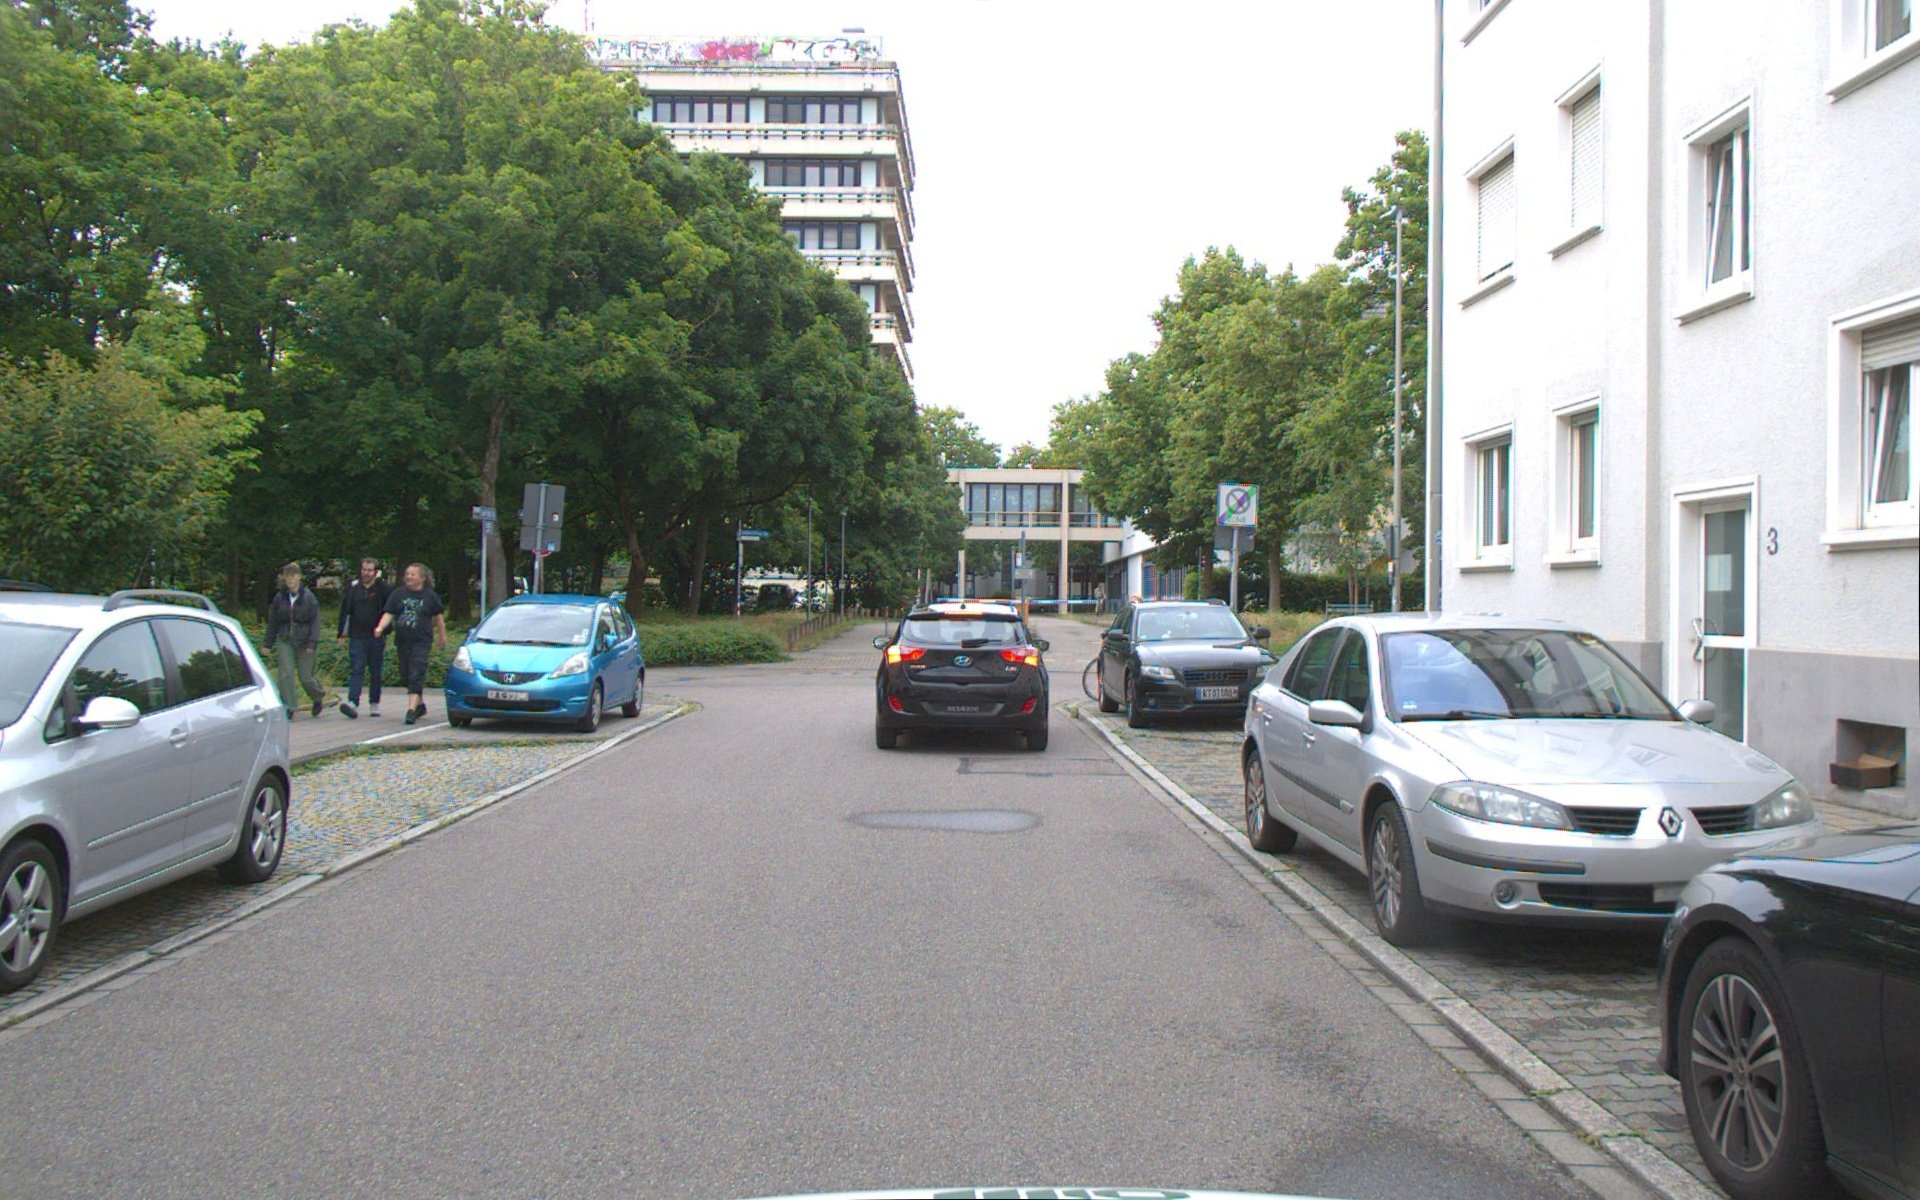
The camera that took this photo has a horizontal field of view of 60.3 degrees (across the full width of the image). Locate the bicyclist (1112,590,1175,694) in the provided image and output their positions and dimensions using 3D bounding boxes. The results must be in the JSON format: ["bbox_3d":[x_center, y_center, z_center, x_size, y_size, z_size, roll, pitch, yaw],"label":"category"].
[{"bbox_3d":[2.862,0.647,25.820,0.881,1.579,0.693,1,0,0],"label":"bicyclist"}]

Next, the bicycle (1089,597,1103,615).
[{"bbox_3d":[8.191,0.360,99.414,0.679,1.014,1.735,1,0,0],"label":"bicycle"}]

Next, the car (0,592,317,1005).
[{"bbox_3d":[-4.731,0.762,7.745,1.953,1.568,3.998,2,0,-2],"label":"car"}]

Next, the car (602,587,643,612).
[{"bbox_3d":[-18.658,-0.045,91.565,1.632,1.356,3.395,1,0,-1],"label":"car"}]

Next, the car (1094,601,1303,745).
[{"bbox_3d":[2.795,0.804,20.384,1.783,1.546,4.672,1,0,-1],"label":"car"}]

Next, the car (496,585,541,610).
[{"bbox_3d":[-24.466,-0.155,91.802,1.632,1.356,3.395,1,0,-1],"label":"car"}]

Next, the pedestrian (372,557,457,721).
[{"bbox_3d":[-6.362,0.446,19.321,0.699,1.863,0.797,1,0,1],"label":"pedestrian"}]

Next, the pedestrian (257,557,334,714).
[{"bbox_3d":[-7.523,0.392,18.744,0.588,1.743,0.648,1,0,1],"label":"pedestrian"}]

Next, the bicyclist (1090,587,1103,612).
[{"bbox_3d":[8.197,-0.030,99.403,0.679,1.469,0.795,1,0,-1],"label":"bicyclist"}]

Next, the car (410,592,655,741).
[{"bbox_3d":[-5.026,0.714,20.007,1.953,1.568,3.999,2,0,-1],"label":"car"}]

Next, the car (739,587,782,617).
[{"bbox_3d":[-9.419,0.097,78.172,1.632,1.356,3.395,1,0,-1],"label":"car"}]

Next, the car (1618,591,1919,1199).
[{"bbox_3d":[2.899,0.763,2.586,1.783,1.546,4.672,1,0,-2],"label":"car"}]

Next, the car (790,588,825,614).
[{"bbox_3d":[-8.416,0.051,91.627,1.632,1.356,3.395,1,0,-1],"label":"car"}]

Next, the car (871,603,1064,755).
[{"bbox_3d":[0.063,0.767,18.092,1.864,1.458,4.232,0,0,0],"label":"car"}]

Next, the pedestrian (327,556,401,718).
[{"bbox_3d":[-7.029,0.429,19.521,0.592,1.863,0.675,1,0,1],"label":"pedestrian"}]

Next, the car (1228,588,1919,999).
[{"bbox_3d":[2.729,0.751,8.656,1.783,1.546,4.672,1,0,-1],"label":"car"}]

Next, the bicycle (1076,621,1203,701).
[{"bbox_3d":[2.786,0.944,25.823,1.888,1.183,0.692,1,0,0],"label":"bicycle"}]
